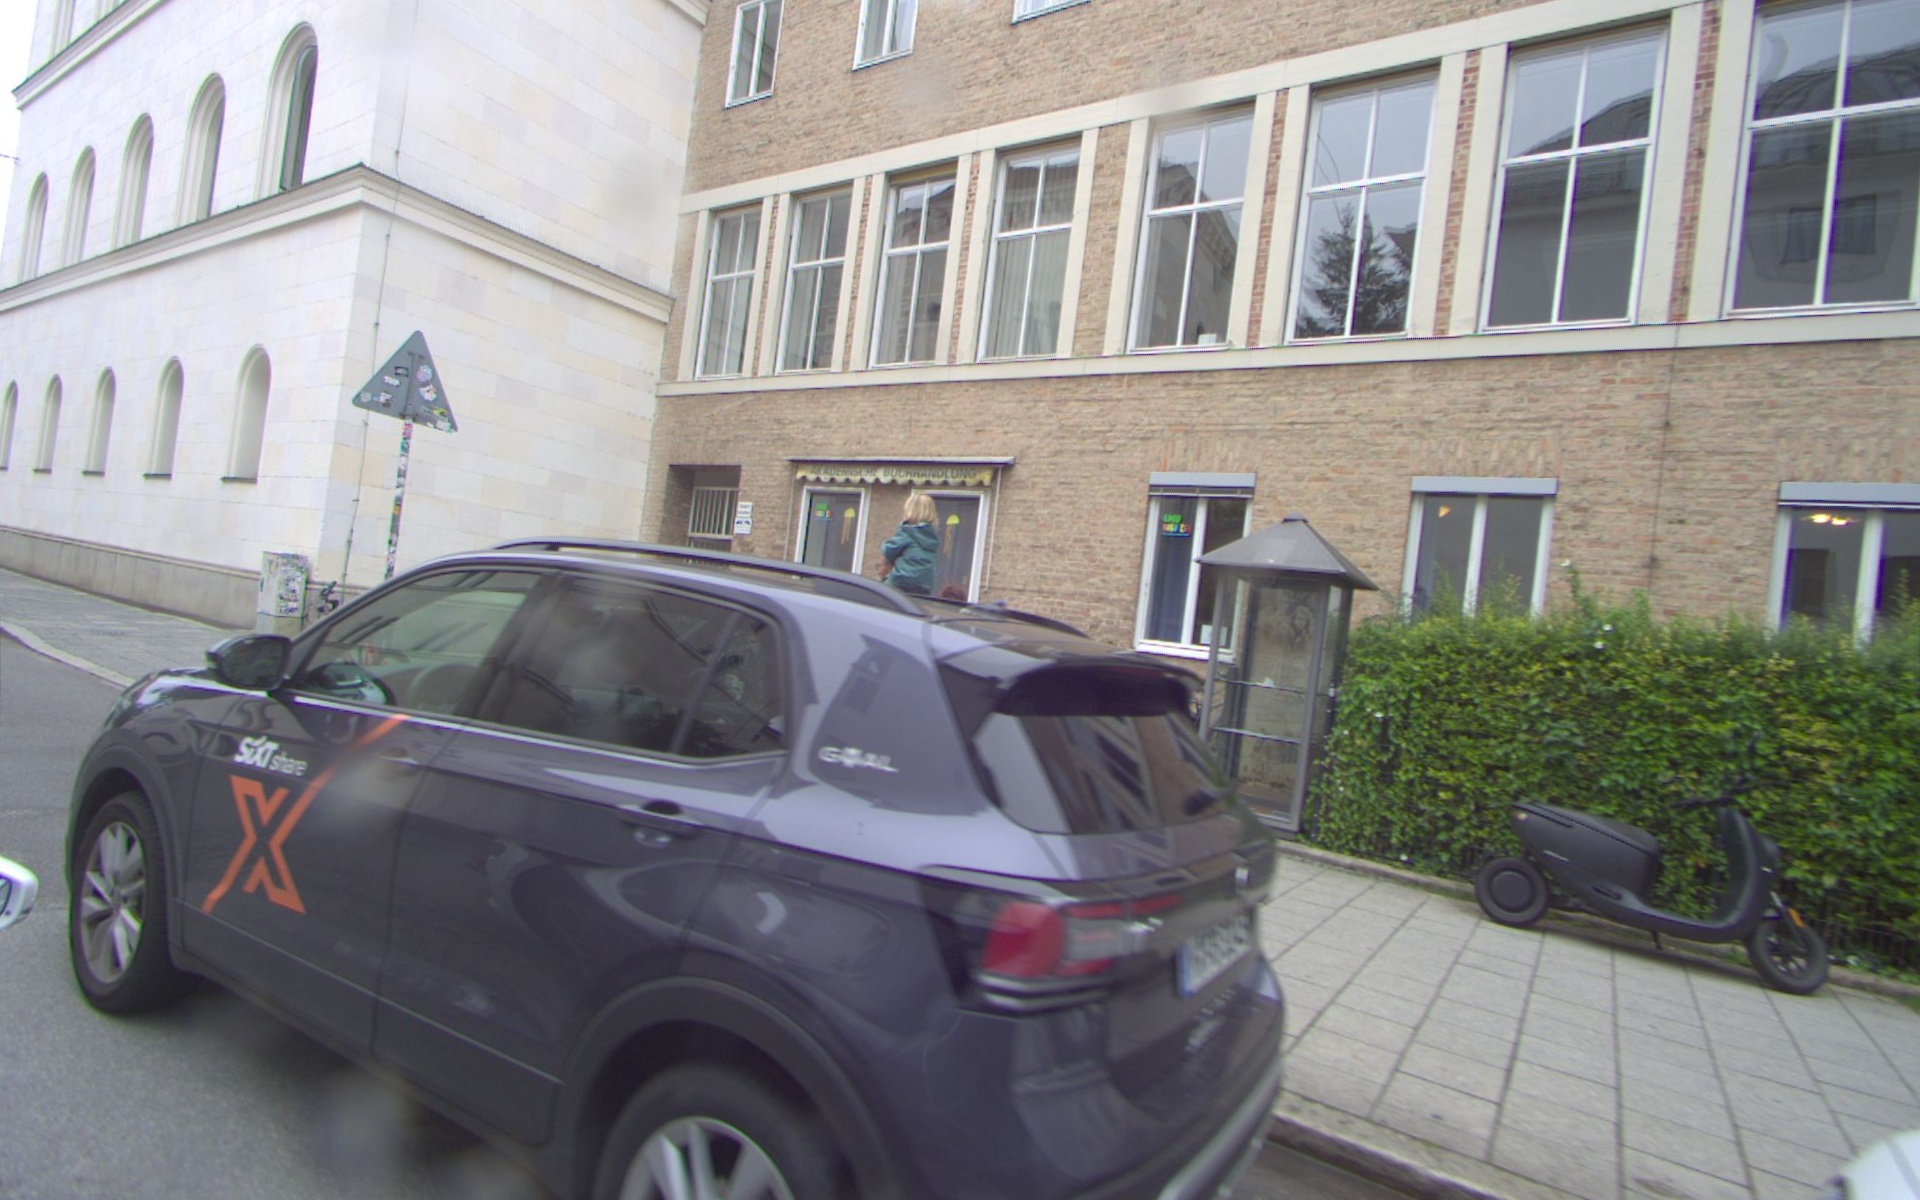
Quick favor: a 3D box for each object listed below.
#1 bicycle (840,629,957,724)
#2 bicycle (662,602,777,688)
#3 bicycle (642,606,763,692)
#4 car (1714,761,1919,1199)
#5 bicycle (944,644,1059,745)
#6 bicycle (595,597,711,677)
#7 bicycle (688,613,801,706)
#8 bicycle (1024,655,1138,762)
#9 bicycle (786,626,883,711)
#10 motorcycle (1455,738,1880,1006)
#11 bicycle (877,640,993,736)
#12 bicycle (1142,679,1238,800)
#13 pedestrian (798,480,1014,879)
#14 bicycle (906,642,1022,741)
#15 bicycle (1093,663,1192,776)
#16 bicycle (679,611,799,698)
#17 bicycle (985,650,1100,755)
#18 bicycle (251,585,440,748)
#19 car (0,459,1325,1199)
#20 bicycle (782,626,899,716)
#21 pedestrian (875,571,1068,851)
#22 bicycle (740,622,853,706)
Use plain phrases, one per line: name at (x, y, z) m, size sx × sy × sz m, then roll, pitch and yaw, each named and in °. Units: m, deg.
bicycle at (-0.719, 0.951, 12.314) m, size 0.343 × 1.054 × 1.629 m, roll 7°, pitch 0°, yaw 37°
bicycle at (-3.421, 0.664, 14.413) m, size 0.343 × 1.108 × 1.629 m, roll 7°, pitch 0°, yaw 39°
bicycle at (-3.479, 0.687, 13.712) m, size 0.343 × 1.054 × 1.629 m, roll 7°, pitch 0°, yaw 39°
car at (3.148, 1.213, 0.609) m, size 4.133 × 1.433 × 1.676 m, roll 7°, pitch -2°, yaw 34°
bicycle at (0.513, 1.097, 11.606) m, size 0.343 × 1.054 × 1.629 m, roll 7°, pitch 0°, yaw 37°
bicycle at (-4.474, 0.565, 14.759) m, size 0.343 × 1.054 × 1.629 m, roll 7°, pitch 0°, yaw 39°
bicycle at (-2.630, 0.749, 12.409) m, size 0.343 × 1.054 × 1.430 m, roll 7°, pitch 0°, yaw 33°
bicycle at (1.341, 1.175, 10.937) m, size 0.343 × 1.054 × 1.629 m, roll 7°, pitch 0°, yaw 37°
bicycle at (-1.659, 0.927, 13.509) m, size 0.343 × 1.054 × 1.430 m, roll 7°, pitch 0°, yaw 33°
motorcycle at (4.061, 1.519, 5.958) m, size 1.891 × 1.066 × 0.489 m, roll 7°, pitch -1°, yaw 31°
bicycle at (-0.266, 1.066, 12.082) m, size 0.343 × 1.054 × 1.629 m, roll 7°, pitch 0°, yaw 37°
bicycle at (2.291, 1.326, 9.900) m, size 0.342 × 1.054 × 1.632 m, roll 7°, pitch 0°, yaw 30°
pedestrian at (-0.337, 0.451, 6.146) m, size 0.790 × 2.225 × 0.804 m, roll 5°, pitch 1°, yaw -41°
bicycle at (0.079, 1.081, 11.802) m, size 0.343 × 1.054 × 1.629 m, roll 7°, pitch 0°, yaw 37°
bicycle at (1.930, 1.219, 10.480) m, size 0.342 × 1.054 × 1.632 m, roll 7°, pitch 0°, yaw 32°
bicycle at (-2.935, 0.754, 13.512) m, size 0.343 × 1.054 × 1.629 m, roll 7°, pitch 0°, yaw 39°
bicycle at (0.952, 1.141, 11.216) m, size 0.343 × 1.054 × 1.629 m, roll 7°, pitch 0°, yaw 37°
bicycle at (-4.854, 0.492, 7.915) m, size 1.605 × 1.055 × 0.348 m, roll 6°, pitch 2°, yaw 24°
car at (-1.141, 0.604, 3.141) m, size 3.890 × 1.612 × 1.751 m, roll 7°, pitch -2°, yaw 31°
bicycle at (-1.498, 0.929, 12.892) m, size 0.343 × 1.054 × 1.629 m, roll 7°, pitch 0°, yaw 37°
pedestrian at (0.076, 0.724, 6.818) m, size 0.854 × 1.714 × 0.743 m, roll 6°, pitch 1°, yaw -42°
bicycle at (-2.201, 0.890, 13.722) m, size 0.343 × 1.054 × 1.629 m, roll 7°, pitch 0°, yaw 37°
